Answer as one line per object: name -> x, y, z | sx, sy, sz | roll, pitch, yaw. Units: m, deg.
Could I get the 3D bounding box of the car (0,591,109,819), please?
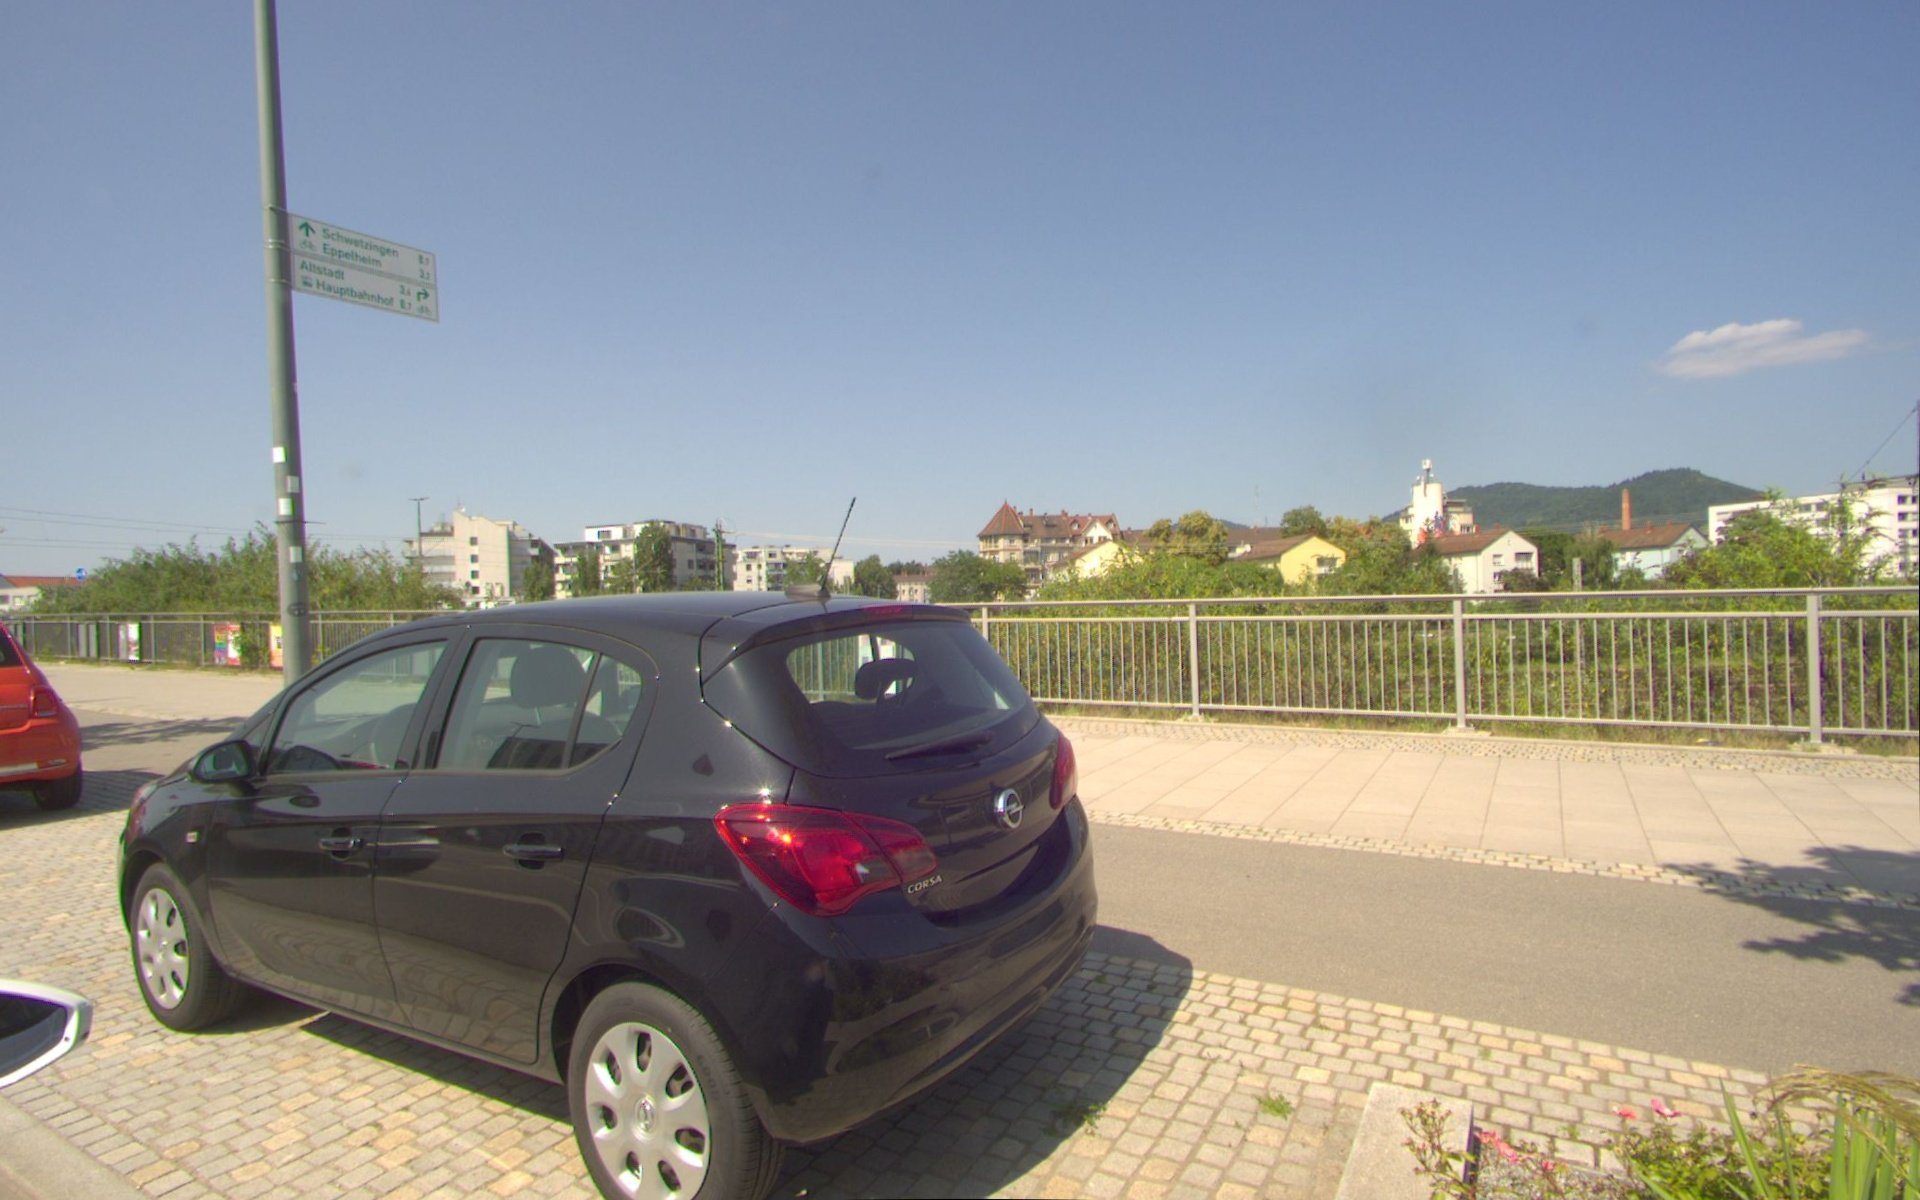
car -> -8.352, 0.760, 7.793 | 3.863, 1.561, 1.664 | -1, 1, 35

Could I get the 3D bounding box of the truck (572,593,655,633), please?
truck -> -29.539, 1.187, 85.662 | 3.672, 3.244, 6.485 | -1, -2, 17

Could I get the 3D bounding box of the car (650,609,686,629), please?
car -> -31.667, 2.059, 108.646 | 1.964, 2.039, 3.997 | -1, -2, 17

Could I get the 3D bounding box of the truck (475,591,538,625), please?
truck -> -36.175, 0.671, 80.005 | 1.964, 2.572, 4.704 | -1, -2, 18

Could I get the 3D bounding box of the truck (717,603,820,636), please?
truck -> -21.335, 2.362, 113.687 | 3.674, 3.243, 17.876 | -1, -3, 17

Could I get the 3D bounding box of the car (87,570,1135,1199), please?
car -> -1.336, 0.739, 3.507 | 3.495, 1.577, 1.577 | -1, 2, 32

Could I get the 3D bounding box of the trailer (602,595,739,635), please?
trailer -> -26.833, 1.556, 94.570 | 3.674, 3.243, 17.244 | -1, -3, 17

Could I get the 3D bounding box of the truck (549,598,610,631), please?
truck -> -35.527, 1.433, 93.646 | 2.081, 2.919, 5.865 | -1, -2, 19
